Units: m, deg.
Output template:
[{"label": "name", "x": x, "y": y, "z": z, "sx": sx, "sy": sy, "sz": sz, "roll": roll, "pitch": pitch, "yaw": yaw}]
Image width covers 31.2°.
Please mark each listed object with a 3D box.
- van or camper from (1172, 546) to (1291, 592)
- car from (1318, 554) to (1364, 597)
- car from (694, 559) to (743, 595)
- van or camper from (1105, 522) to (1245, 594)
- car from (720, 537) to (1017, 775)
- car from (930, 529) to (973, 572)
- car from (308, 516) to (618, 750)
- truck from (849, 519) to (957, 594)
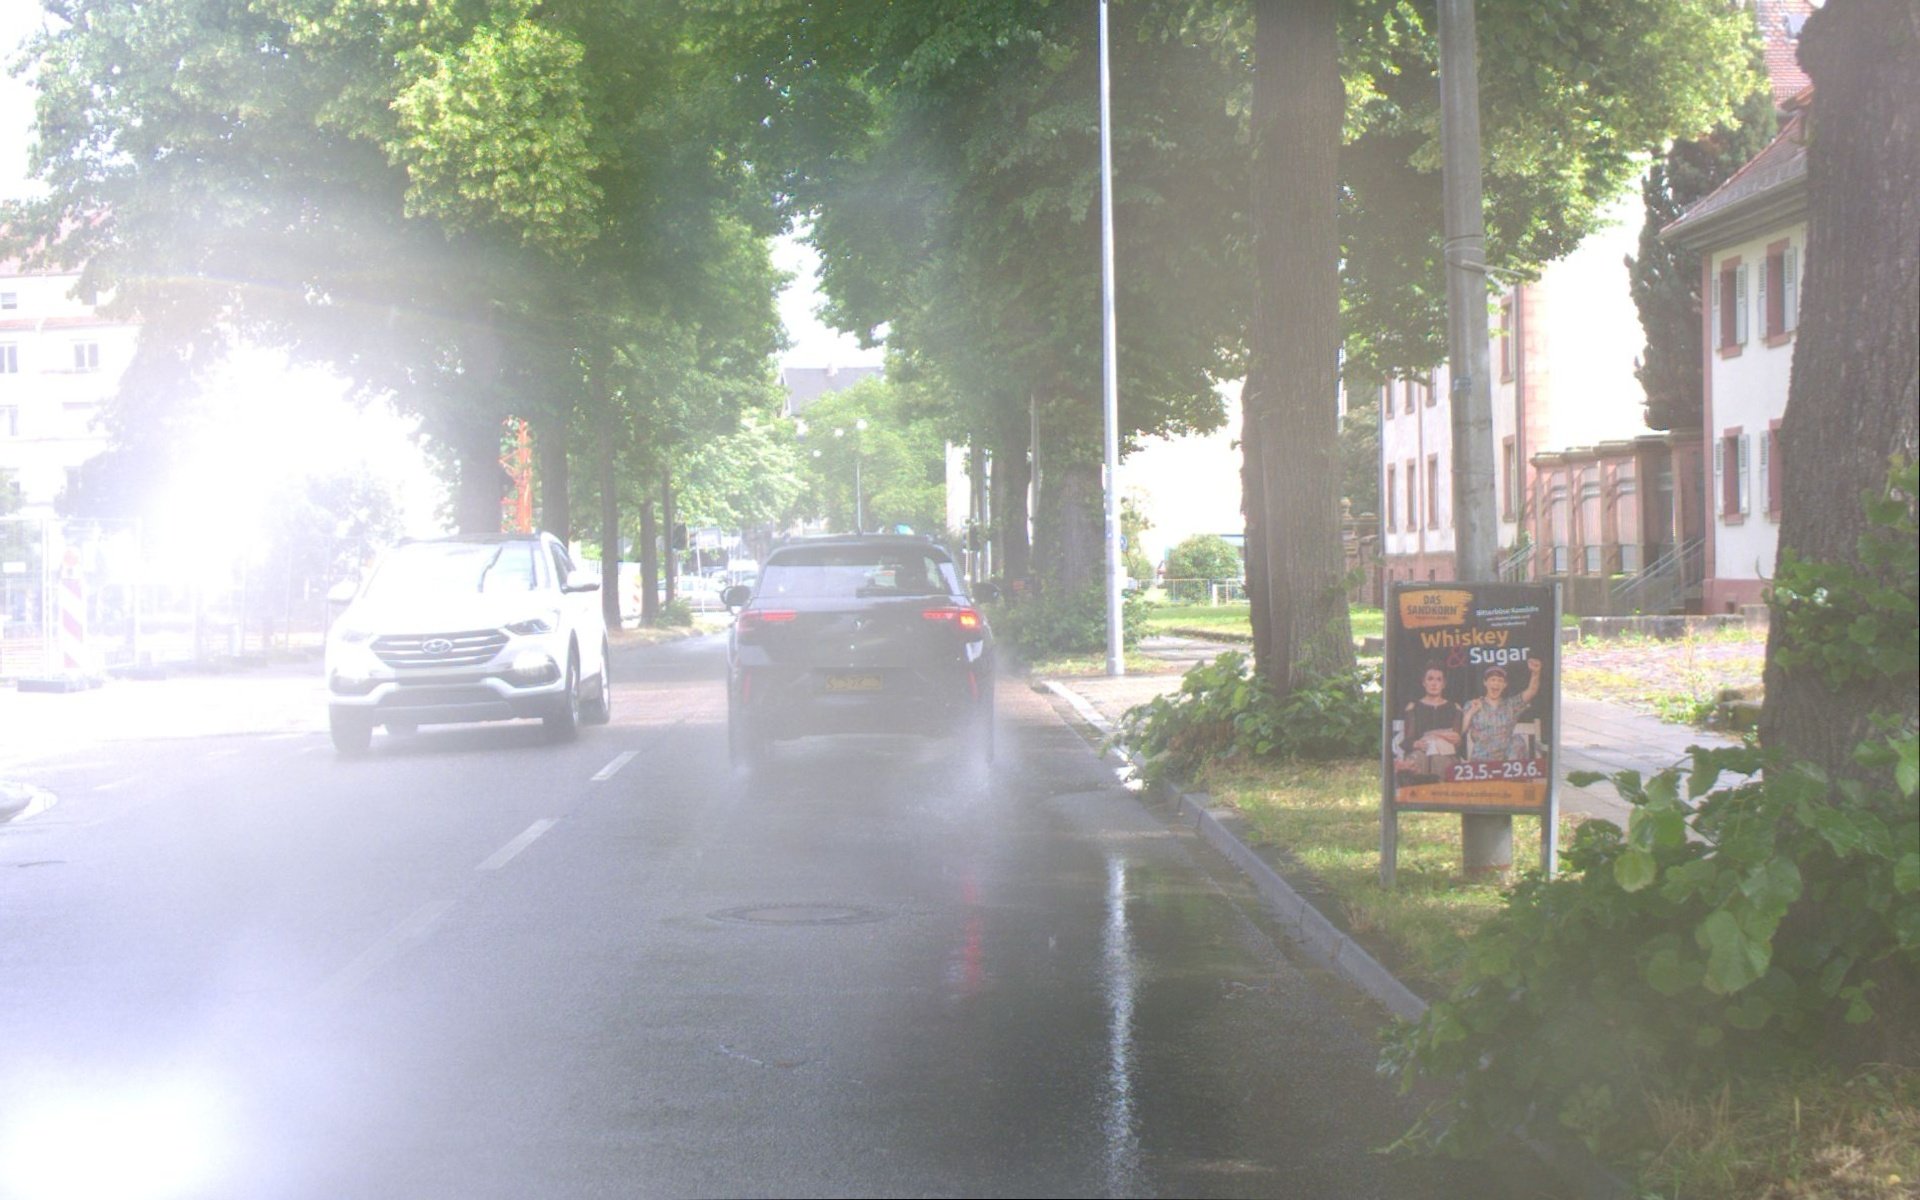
[{"label": "van or camper", "x": 11.588, "y": -1.325, "z": 146.983, "sx": 4.874, "sy": 1.919, "sz": 2.131, "roll": 0, "pitch": 1, "yaw": 0}, {"label": "car", "x": 15.830, "y": -1.021, "z": 142.937, "sx": 1.743, "sy": 1.678, "sz": 3.869, "roll": -4, "pitch": 0, "yaw": 5}, {"label": "car", "x": -10.902, "y": -1.058, "z": 155.334, "sx": 1.591, "sy": 1.507, "sz": 3.731, "roll": -4, "pitch": 1, "yaw": 5}, {"label": "van or camper", "x": 8.086, "y": -1.576, "z": 129.773, "sx": 5.032, "sy": 2.587, "sz": 2.168, "roll": -1, "pitch": 0, "yaw": -2}, {"label": "car", "x": -0.677, "y": 0.337, "z": 23.974, "sx": 1.894, "sy": 1.517, "sz": 4.000, "roll": 0, "pitch": 1, "yaw": -3}, {"label": "car", "x": -0.424, "y": -2.505, "z": 175.012, "sx": 1.993, "sy": 2.007, "sz": 3.999, "roll": -1, "pitch": -2, "yaw": 2}, {"label": "car", "x": -3.927, "y": 0.210, "z": 27.820, "sx": 1.886, "sy": 1.708, "sz": 4.230, "roll": -1, "pitch": 1, "yaw": 0}, {"label": "truck", "x": -2.156, "y": -1.649, "z": 126.032, "sx": 2.804, "sy": 2.647, "sz": 8.243, "roll": 0, "pitch": 1, "yaw": -9}]
